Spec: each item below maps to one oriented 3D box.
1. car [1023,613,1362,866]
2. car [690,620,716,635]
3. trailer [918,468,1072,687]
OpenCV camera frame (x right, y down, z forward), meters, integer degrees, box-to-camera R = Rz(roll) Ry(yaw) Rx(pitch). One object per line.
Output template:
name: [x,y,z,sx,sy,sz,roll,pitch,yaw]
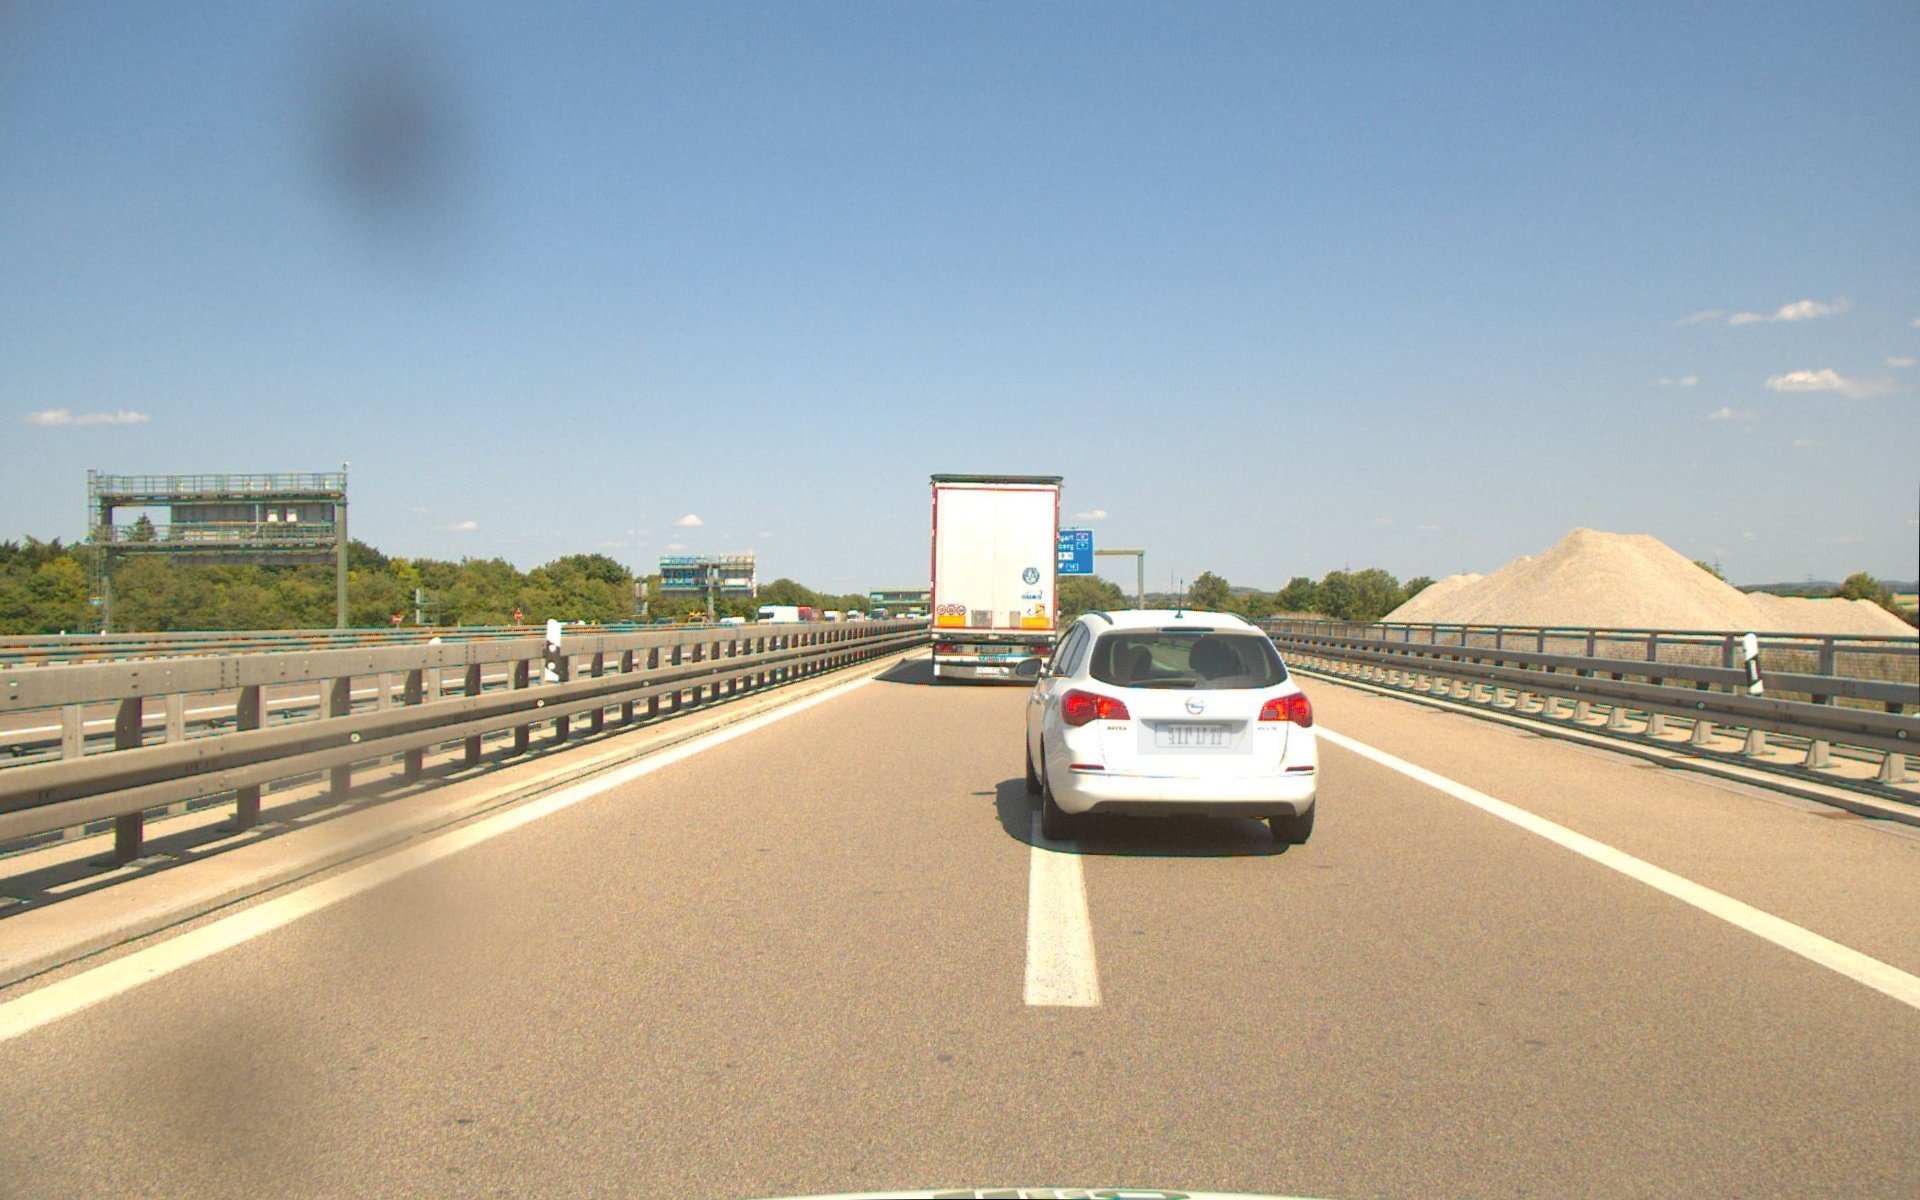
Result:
car: [1.452,0.836,11.919,1.816,1.468,4.371,1,0,0]
car: [-27.971,2.958,179.959,1.799,1.544,5.299,0,0,3]
trailer: [1.063,-0.324,37.806,2.851,4.218,11.262,1,-1,4]
